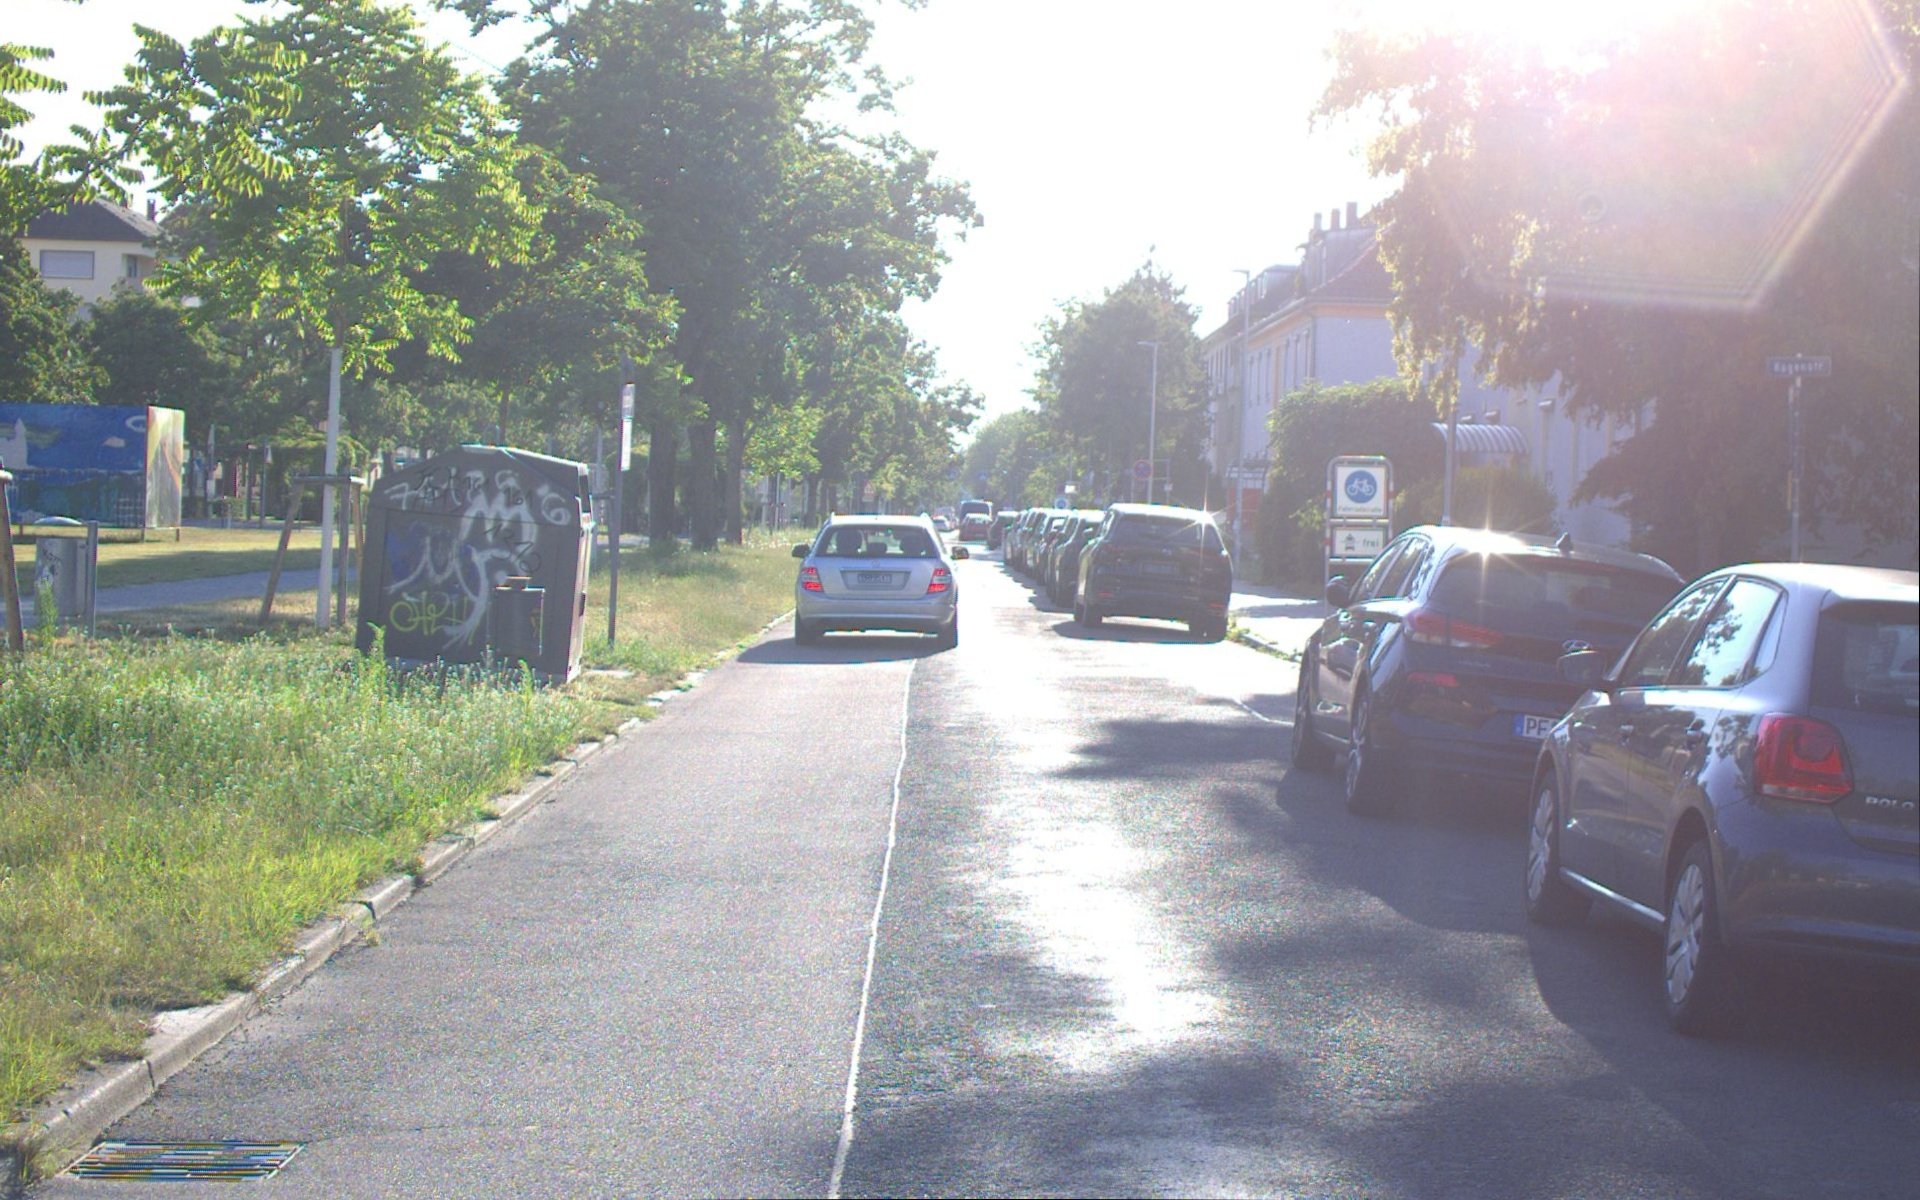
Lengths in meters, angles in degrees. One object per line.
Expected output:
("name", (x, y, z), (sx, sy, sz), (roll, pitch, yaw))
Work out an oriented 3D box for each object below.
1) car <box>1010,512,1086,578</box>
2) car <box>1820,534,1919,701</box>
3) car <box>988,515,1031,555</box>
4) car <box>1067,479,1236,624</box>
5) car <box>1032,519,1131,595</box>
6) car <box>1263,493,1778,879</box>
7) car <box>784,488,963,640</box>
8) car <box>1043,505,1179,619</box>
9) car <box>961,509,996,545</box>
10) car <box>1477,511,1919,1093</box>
("car", (2.295, -1.452, 90.920), (1.777, 1.637, 4.757), (2, 1, -1))
("car", (10.895, 0.285, 32.715), (4.846, 1.481, 2.002), (3, -2, -1))
("car", (2.056, -2.724, 145.004), (1.721, 1.591, 4.000), (2, 0, 0))
("car", (2.544, -0.651, 46.817), (1.832, 1.726, 5.032), (4, 1, -1))
("car", (2.595, -0.958, 74.504), (1.993, 1.457, 4.561), (4, 1, 1))
("car", (2.818, 0.339, 18.354), (1.822, 1.556, 4.622), (8, 2, 0))
("car", (-0.905, -0.430, 38.010), (1.823, 1.561, 4.000), (1, 2, 0))
("car", (2.523, -0.679, 58.589), (1.933, 1.714, 4.622), (5, 1, -1))
("car", (1.094, -4.327, 203.211), (1.988, 2.016, 4.000), (2, 1, 0))
("car", (2.980, 0.567, 11.648), (1.687, 1.522, 4.175), (6, 2, 0))
